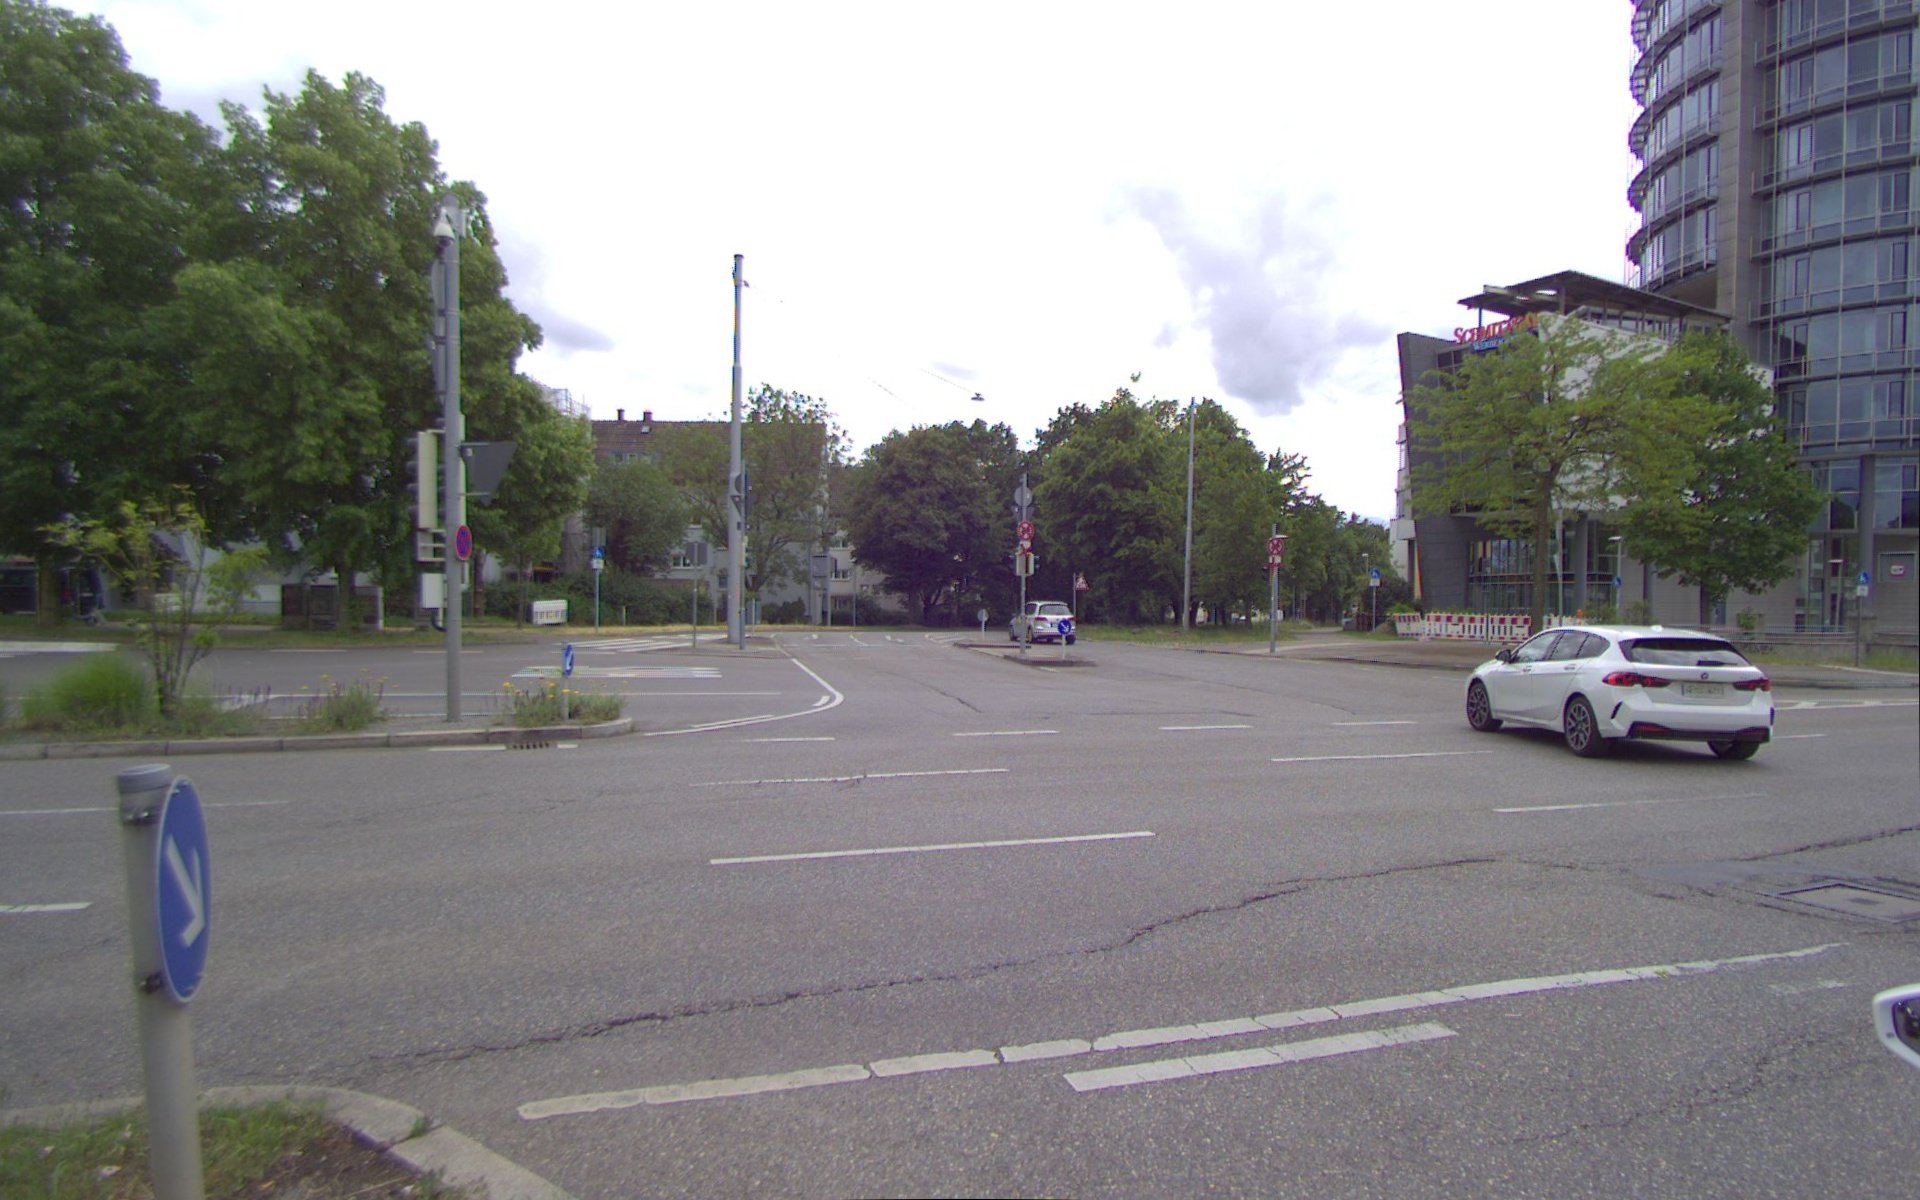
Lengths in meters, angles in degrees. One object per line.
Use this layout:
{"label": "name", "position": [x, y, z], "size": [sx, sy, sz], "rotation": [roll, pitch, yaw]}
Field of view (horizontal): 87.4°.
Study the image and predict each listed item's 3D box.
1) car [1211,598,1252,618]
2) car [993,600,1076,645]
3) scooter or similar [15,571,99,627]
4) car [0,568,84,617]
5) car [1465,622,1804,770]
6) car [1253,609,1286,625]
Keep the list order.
{"label": "car", "position": [11.973, 0.354, 44.281], "size": [1.685, 0.888, 0.776], "rotation": [1, 0, 18]}
{"label": "car", "position": [2.799, 0.837, 38.410], "size": [1.532, 1.590, 3.978], "rotation": [1, 0, -22]}
{"label": "scooter or similar", "position": [-28.034, -0.030, 31.210], "size": [1.827, 1.686, 0.647], "rotation": [1, 0, -32]}
{"label": "car", "position": [-37.639, -0.297, 39.683], "size": [4.334, 1.872, 1.786], "rotation": [1, 0, -5]}
{"label": "car", "position": [7.941, 1.045, 12.348], "size": [1.791, 1.457, 4.003], "rotation": [2, -2, 6]}
{"label": "car", "position": [47.906, 2.630, 155.438], "size": [4.464, 2.370, 1.999], "rotation": [1, -1, -5]}
